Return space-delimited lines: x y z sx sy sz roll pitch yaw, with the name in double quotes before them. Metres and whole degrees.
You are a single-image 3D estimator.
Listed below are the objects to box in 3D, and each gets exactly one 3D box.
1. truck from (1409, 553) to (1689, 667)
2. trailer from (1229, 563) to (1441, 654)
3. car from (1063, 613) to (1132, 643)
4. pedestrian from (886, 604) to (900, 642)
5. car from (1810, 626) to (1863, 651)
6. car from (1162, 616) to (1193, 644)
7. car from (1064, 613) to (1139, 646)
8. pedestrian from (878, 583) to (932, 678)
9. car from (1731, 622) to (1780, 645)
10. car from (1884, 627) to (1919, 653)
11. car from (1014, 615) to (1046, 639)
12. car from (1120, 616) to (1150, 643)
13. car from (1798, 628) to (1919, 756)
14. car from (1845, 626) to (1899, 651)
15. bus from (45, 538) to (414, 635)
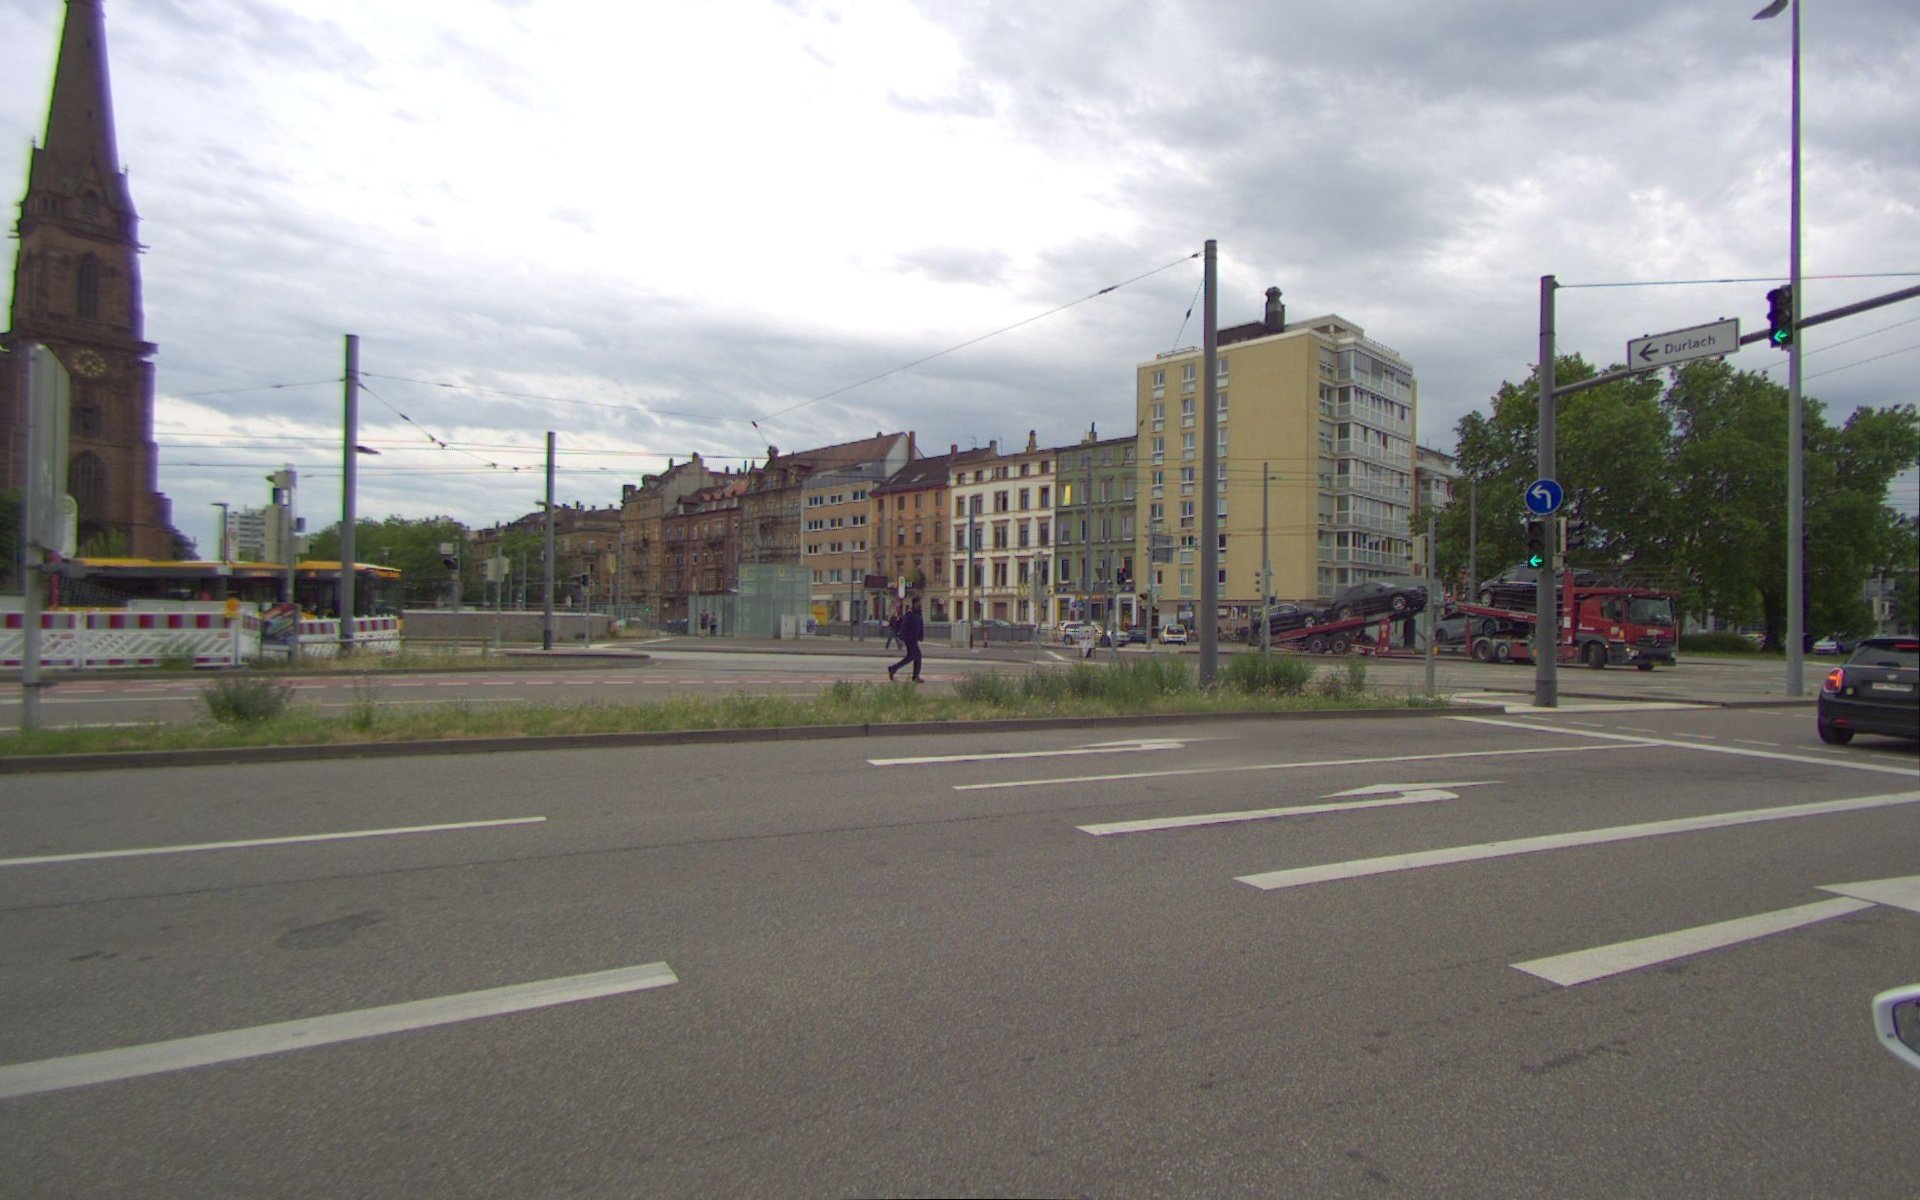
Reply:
"truck" 23.173 0.329 40.593 2.967 3.972 10.417 2 0 -17
"trailer" 18.162 0.315 49.356 2.974 4.026 9.435 1 0 -42
"car" 8.783 1.767 64.312 3.944 1.751 1.988 2 0 44
"pedestrian" -2.904 0.995 43.402 0.474 1.632 0.423 1 -1 -29
"car" 77.929 3.409 89.302 3.944 2.040 1.988 2 0 -24
"car" 15.568 2.121 71.935 2.039 1.779 4.002 2 0 12
"car" 8.377 1.727 59.632 3.944 1.751 1.988 2 0 44
"pedestrian" -1.169 0.645 21.430 0.962 1.969 0.782 1 -1 11
"car" 75.492 3.191 95.277 3.944 2.040 1.988 2 0 -24
"car" 79.916 3.389 84.326 3.944 2.040 1.988 2 0 -24
"car" 5.756 2.184 82.061 2.039 1.779 4.002 2 0 12
"car" 12.730 2.105 72.934 2.039 1.779 4.002 2 0 12
"car" 12.907 1.136 12.968 3.947 1.488 1.764 1 -1 -26
"car" 79.006 3.359 87.028 3.944 2.040 1.988 2 0 -24
"bus" -26.912 -0.482 37.322 11.780 3.118 2.865 2 0 2
